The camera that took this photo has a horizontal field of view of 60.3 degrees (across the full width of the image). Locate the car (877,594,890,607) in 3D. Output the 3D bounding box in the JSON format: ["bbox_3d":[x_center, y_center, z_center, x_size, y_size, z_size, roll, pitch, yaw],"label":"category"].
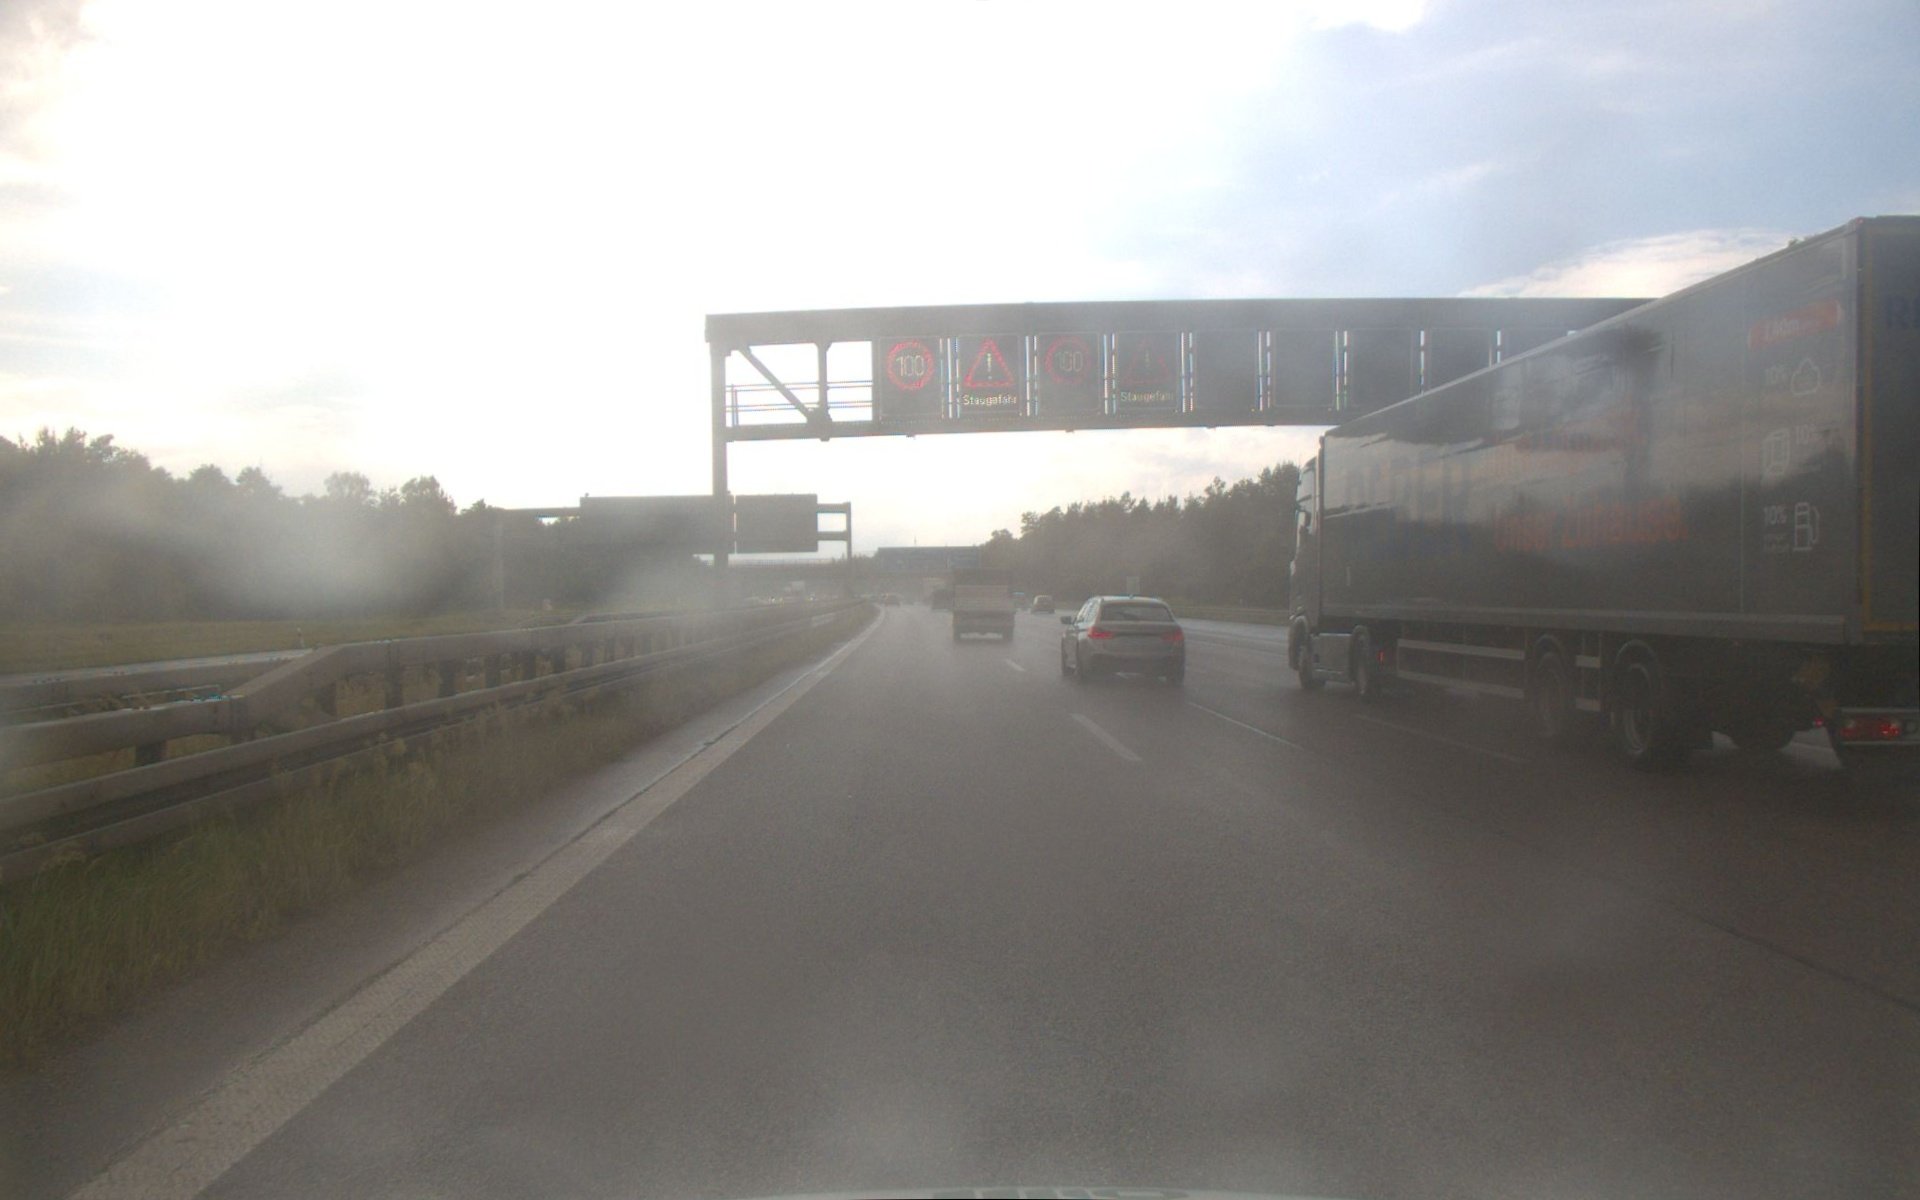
[{"bbox_3d":[-11.947,0.088,257.530,1.758,2.049,4.000,1,0,0],"label":"car"}]

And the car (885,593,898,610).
[{"bbox_3d":[-8.710,0.226,210.303,1.584,2.049,3.999,1,0,-1],"label":"car"}]

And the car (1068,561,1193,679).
[{"bbox_3d":[3.008,0.315,29.611,2.034,1.918,5.014,0,0,5],"label":"car"}]

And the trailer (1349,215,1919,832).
[{"bbox_3d":[6.962,-0.539,17.647,2.276,4.071,13.409,0,0,-1],"label":"trailer"}]

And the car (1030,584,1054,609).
[{"bbox_3d":[6.938,-0.337,139.680,1.952,2.049,4.001,1,0,2],"label":"car"}]

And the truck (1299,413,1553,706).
[{"bbox_3d":[6.835,-0.558,24.994,2.247,3.935,5.391,0,0,-1],"label":"truck"}]

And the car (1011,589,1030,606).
[{"bbox_3d":[6.158,-0.244,167.965,1.705,1.718,3.999,0,0,-1],"label":"car"}]

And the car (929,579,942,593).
[{"bbox_3d":[-3.780,-2.172,256.413,1.953,2.049,3.999,1,0,-1],"label":"car"}]

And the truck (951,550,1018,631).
[{"bbox_3d":[0.831,-0.328,54.622,2.093,2.532,5.314,0,0,1],"label":"truck"}]

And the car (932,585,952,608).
[{"bbox_3d":[-1.635,-0.317,148.980,1.640,2.049,3.999,1,0,-1],"label":"car"}]
